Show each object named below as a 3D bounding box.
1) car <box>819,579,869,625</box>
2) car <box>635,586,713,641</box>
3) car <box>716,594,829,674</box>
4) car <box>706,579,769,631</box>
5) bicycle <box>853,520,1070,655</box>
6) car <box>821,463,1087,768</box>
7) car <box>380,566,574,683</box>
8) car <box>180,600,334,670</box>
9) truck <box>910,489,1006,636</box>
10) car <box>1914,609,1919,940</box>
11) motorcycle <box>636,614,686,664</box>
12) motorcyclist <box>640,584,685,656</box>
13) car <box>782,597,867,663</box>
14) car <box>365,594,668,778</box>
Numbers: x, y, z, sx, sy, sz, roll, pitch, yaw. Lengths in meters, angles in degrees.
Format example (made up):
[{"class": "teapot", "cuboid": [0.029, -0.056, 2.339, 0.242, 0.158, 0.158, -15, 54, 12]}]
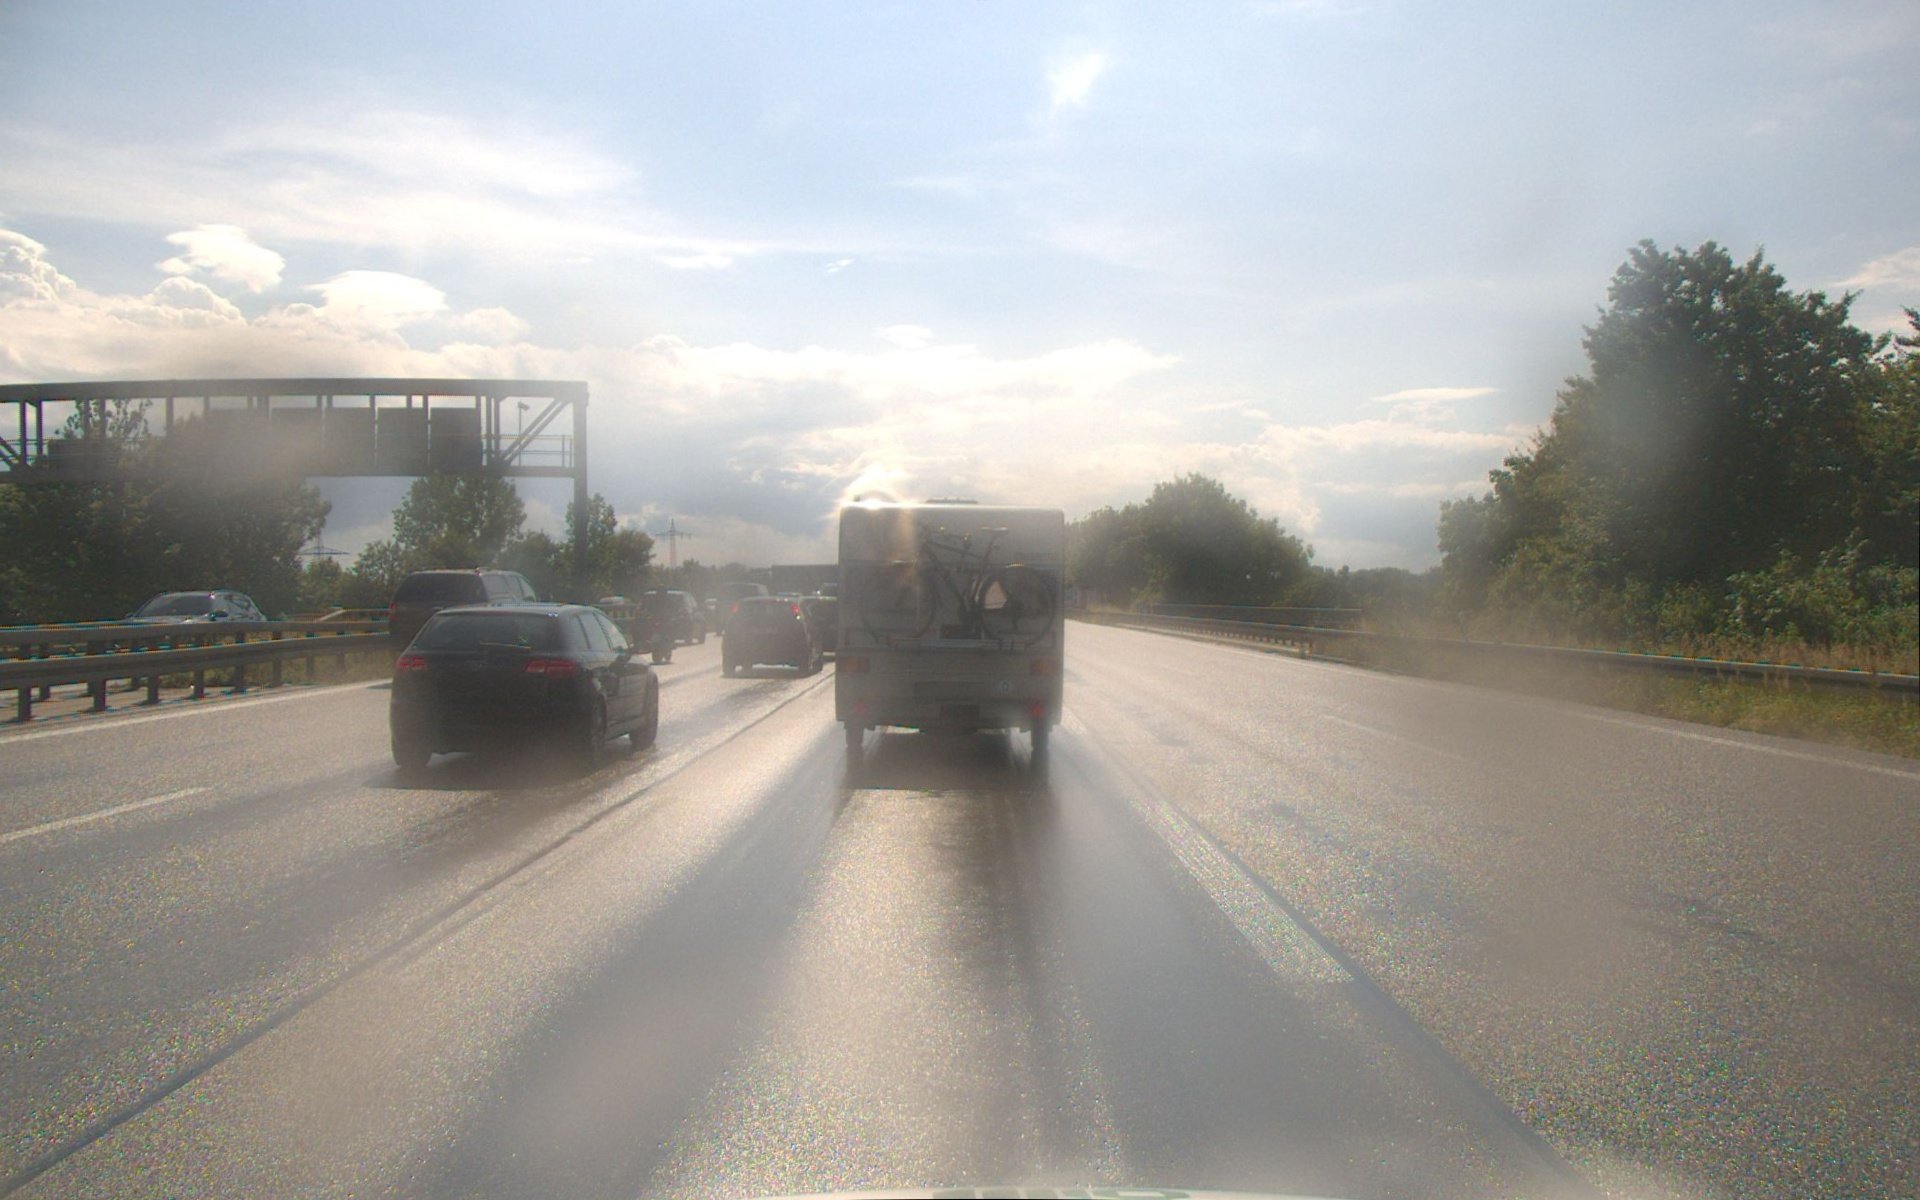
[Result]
[{"class": "car", "cuboid": [-4.392, 0.085, 62.817, 1.654, 1.691, 3.640, 0, 0, 0]}, {"class": "car", "cuboid": [-8.677, 0.392, 50.416, 1.747, 1.606, 3.915, 0, 0, -1]}, {"class": "car", "cuboid": [-3.640, 0.623, 32.665, 1.722, 1.468, 4.000, 0, 0, 1]}, {"class": "car", "cuboid": [-8.643, 0.177, 64.685, 1.810, 1.967, 5.015, 0, 0, -1]}, {"class": "bicycle", "cuboid": [0.019, -0.107, 14.736, 1.894, 1.161, 0.384, 1, 0, 1]}, {"class": "car", "cuboid": [-0.028, 0.142, 16.923, 2.361, 2.721, 4.000, 1, 0, 1]}, {"class": "car", "cuboid": [-8.393, 0.387, 29.294, 1.769, 1.876, 5.418, 0, 0, 1]}, {"class": "car", "cuboid": [-15.495, 0.736, 36.676, 1.740, 1.467, 3.999, 0, 0, -1]}, {"class": "truck", "cuboid": [-0.149, -1.221, 58.656, 3.082, 4.707, 10.733, 0, 0, -1]}, {"class": "car", "cuboid": [5.201, 0.776, 5.184, 1.708, 1.456, 4.402, 0, 0, -3]}, {"class": "motorcycle", "cuboid": [-6.541, 0.836, 36.276, 0.676, 1.045, 2.388, 0, 0, 0]}, {"class": "motorcyclist", "cuboid": [-6.550, 0.438, 36.423, 0.779, 1.564, 1.093, 0, 0, 0]}, {"class": "car", "cuboid": [-3.281, 0.701, 40.761, 1.825, 1.534, 3.999, 0, 0, -1]}, {"class": "car", "cuboid": [-3.901, 0.679, 15.245, 1.714, 1.458, 4.053, 0, 0, -1]}]
